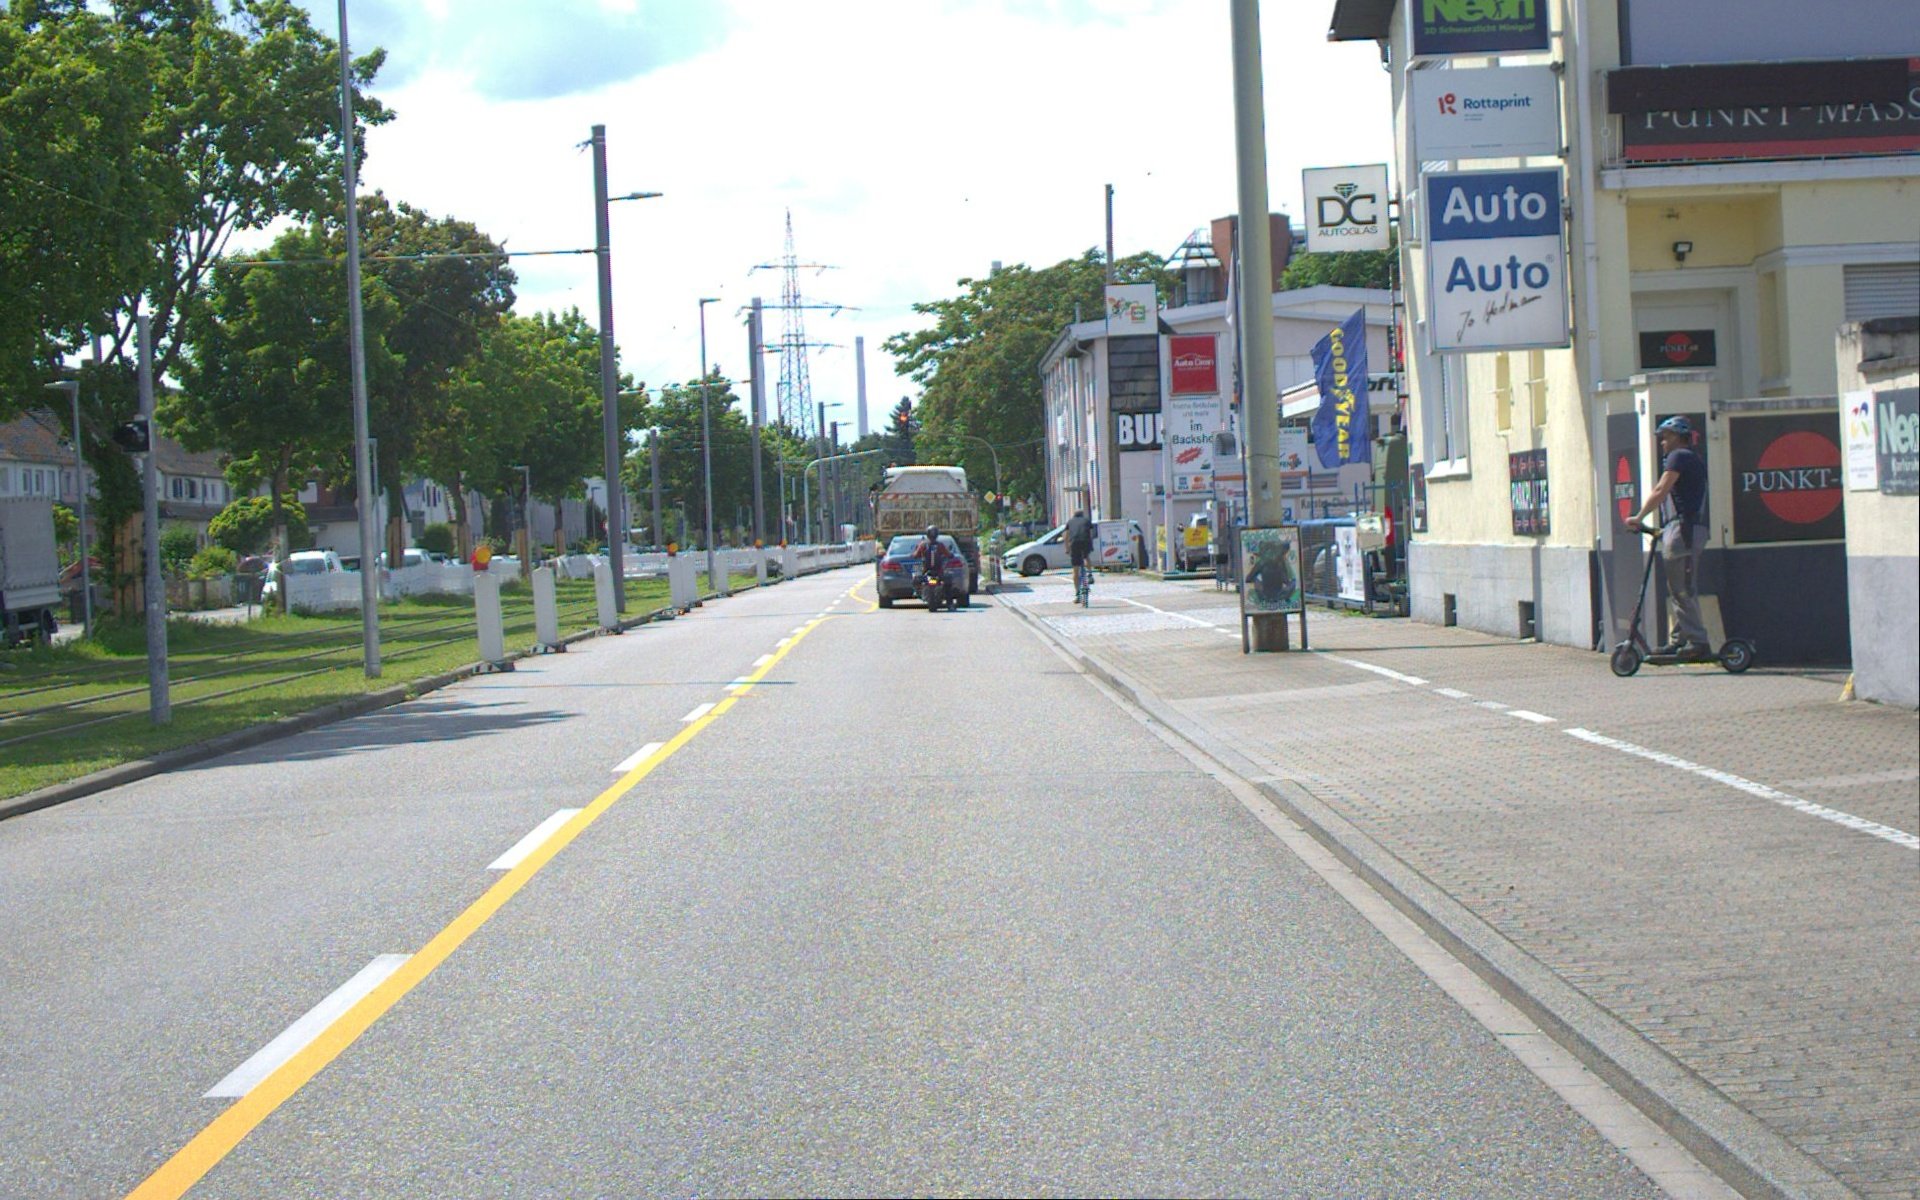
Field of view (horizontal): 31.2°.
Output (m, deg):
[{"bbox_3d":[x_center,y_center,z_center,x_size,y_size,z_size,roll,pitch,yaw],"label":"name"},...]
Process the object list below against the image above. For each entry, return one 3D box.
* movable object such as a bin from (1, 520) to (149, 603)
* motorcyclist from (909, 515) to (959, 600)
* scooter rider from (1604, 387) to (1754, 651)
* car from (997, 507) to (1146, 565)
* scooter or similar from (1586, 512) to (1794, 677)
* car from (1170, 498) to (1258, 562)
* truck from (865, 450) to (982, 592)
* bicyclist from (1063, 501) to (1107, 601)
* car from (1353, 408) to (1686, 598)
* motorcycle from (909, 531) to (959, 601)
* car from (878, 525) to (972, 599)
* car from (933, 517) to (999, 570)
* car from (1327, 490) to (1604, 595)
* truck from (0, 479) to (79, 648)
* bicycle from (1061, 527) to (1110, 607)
[{"bbox_3d":[-28.633,-1.253,111.245,4.335,2.441,1.789,-3,1,-22],"label":"movable object such as a bin"},{"bbox_3d":[-0.498,-0.810,65.850,0.939,1.609,1.205,0,1,0],"label":"motorcyclist"},{"bbox_3d":[5.437,-0.602,26.006,0.717,1.956,0.785,-1,0,-30],"label":"scooter rider"},{"bbox_3d":[3.498,-1.994,107.918,4.329,1.546,1.950,-3,1,-8],"label":"car"},{"bbox_3d":[5.485,-0.037,25.905,0.540,1.191,1.611,-2,1,-31],"label":"scooter or similar"},{"bbox_3d":[7.157,-1.967,97.271,1.959,1.643,4.000,-3,1,-2],"label":"car"},{"bbox_3d":[-0.851,-2.070,86.612,2.610,3.244,9.183,-3,2,0],"label":"truck"},{"bbox_3d":[2.220,-0.875,61.051,0.671,1.738,0.813,-2,1,-1],"label":"bicyclist"},{"bbox_3d":[8.278,-1.432,51.200,4.537,2.564,2.151,-3,1,2],"label":"car"},{"bbox_3d":[-0.501,-0.660,66.033,0.939,1.316,2.645,0,1,0],"label":"motorcycle"},{"bbox_3d":[-0.705,-0.805,70.507,1.821,1.419,4.000,-2,1,0],"label":"car"},{"bbox_3d":[0.180,-1.658,99.693,1.821,1.459,4.000,-2,1,0],"label":"car"},{"bbox_3d":[7.912,-0.904,54.102,4.184,1.426,1.820,-3,1,7],"label":"car"},{"bbox_3d":[-16.730,-0.556,57.862,1.993,2.758,6.277,-5,2,0],"label":"truck"},{"bbox_3d":[2.217,-0.597,61.081,0.693,1.357,2.419,-3,1,-1],"label":"bicycle"}]
